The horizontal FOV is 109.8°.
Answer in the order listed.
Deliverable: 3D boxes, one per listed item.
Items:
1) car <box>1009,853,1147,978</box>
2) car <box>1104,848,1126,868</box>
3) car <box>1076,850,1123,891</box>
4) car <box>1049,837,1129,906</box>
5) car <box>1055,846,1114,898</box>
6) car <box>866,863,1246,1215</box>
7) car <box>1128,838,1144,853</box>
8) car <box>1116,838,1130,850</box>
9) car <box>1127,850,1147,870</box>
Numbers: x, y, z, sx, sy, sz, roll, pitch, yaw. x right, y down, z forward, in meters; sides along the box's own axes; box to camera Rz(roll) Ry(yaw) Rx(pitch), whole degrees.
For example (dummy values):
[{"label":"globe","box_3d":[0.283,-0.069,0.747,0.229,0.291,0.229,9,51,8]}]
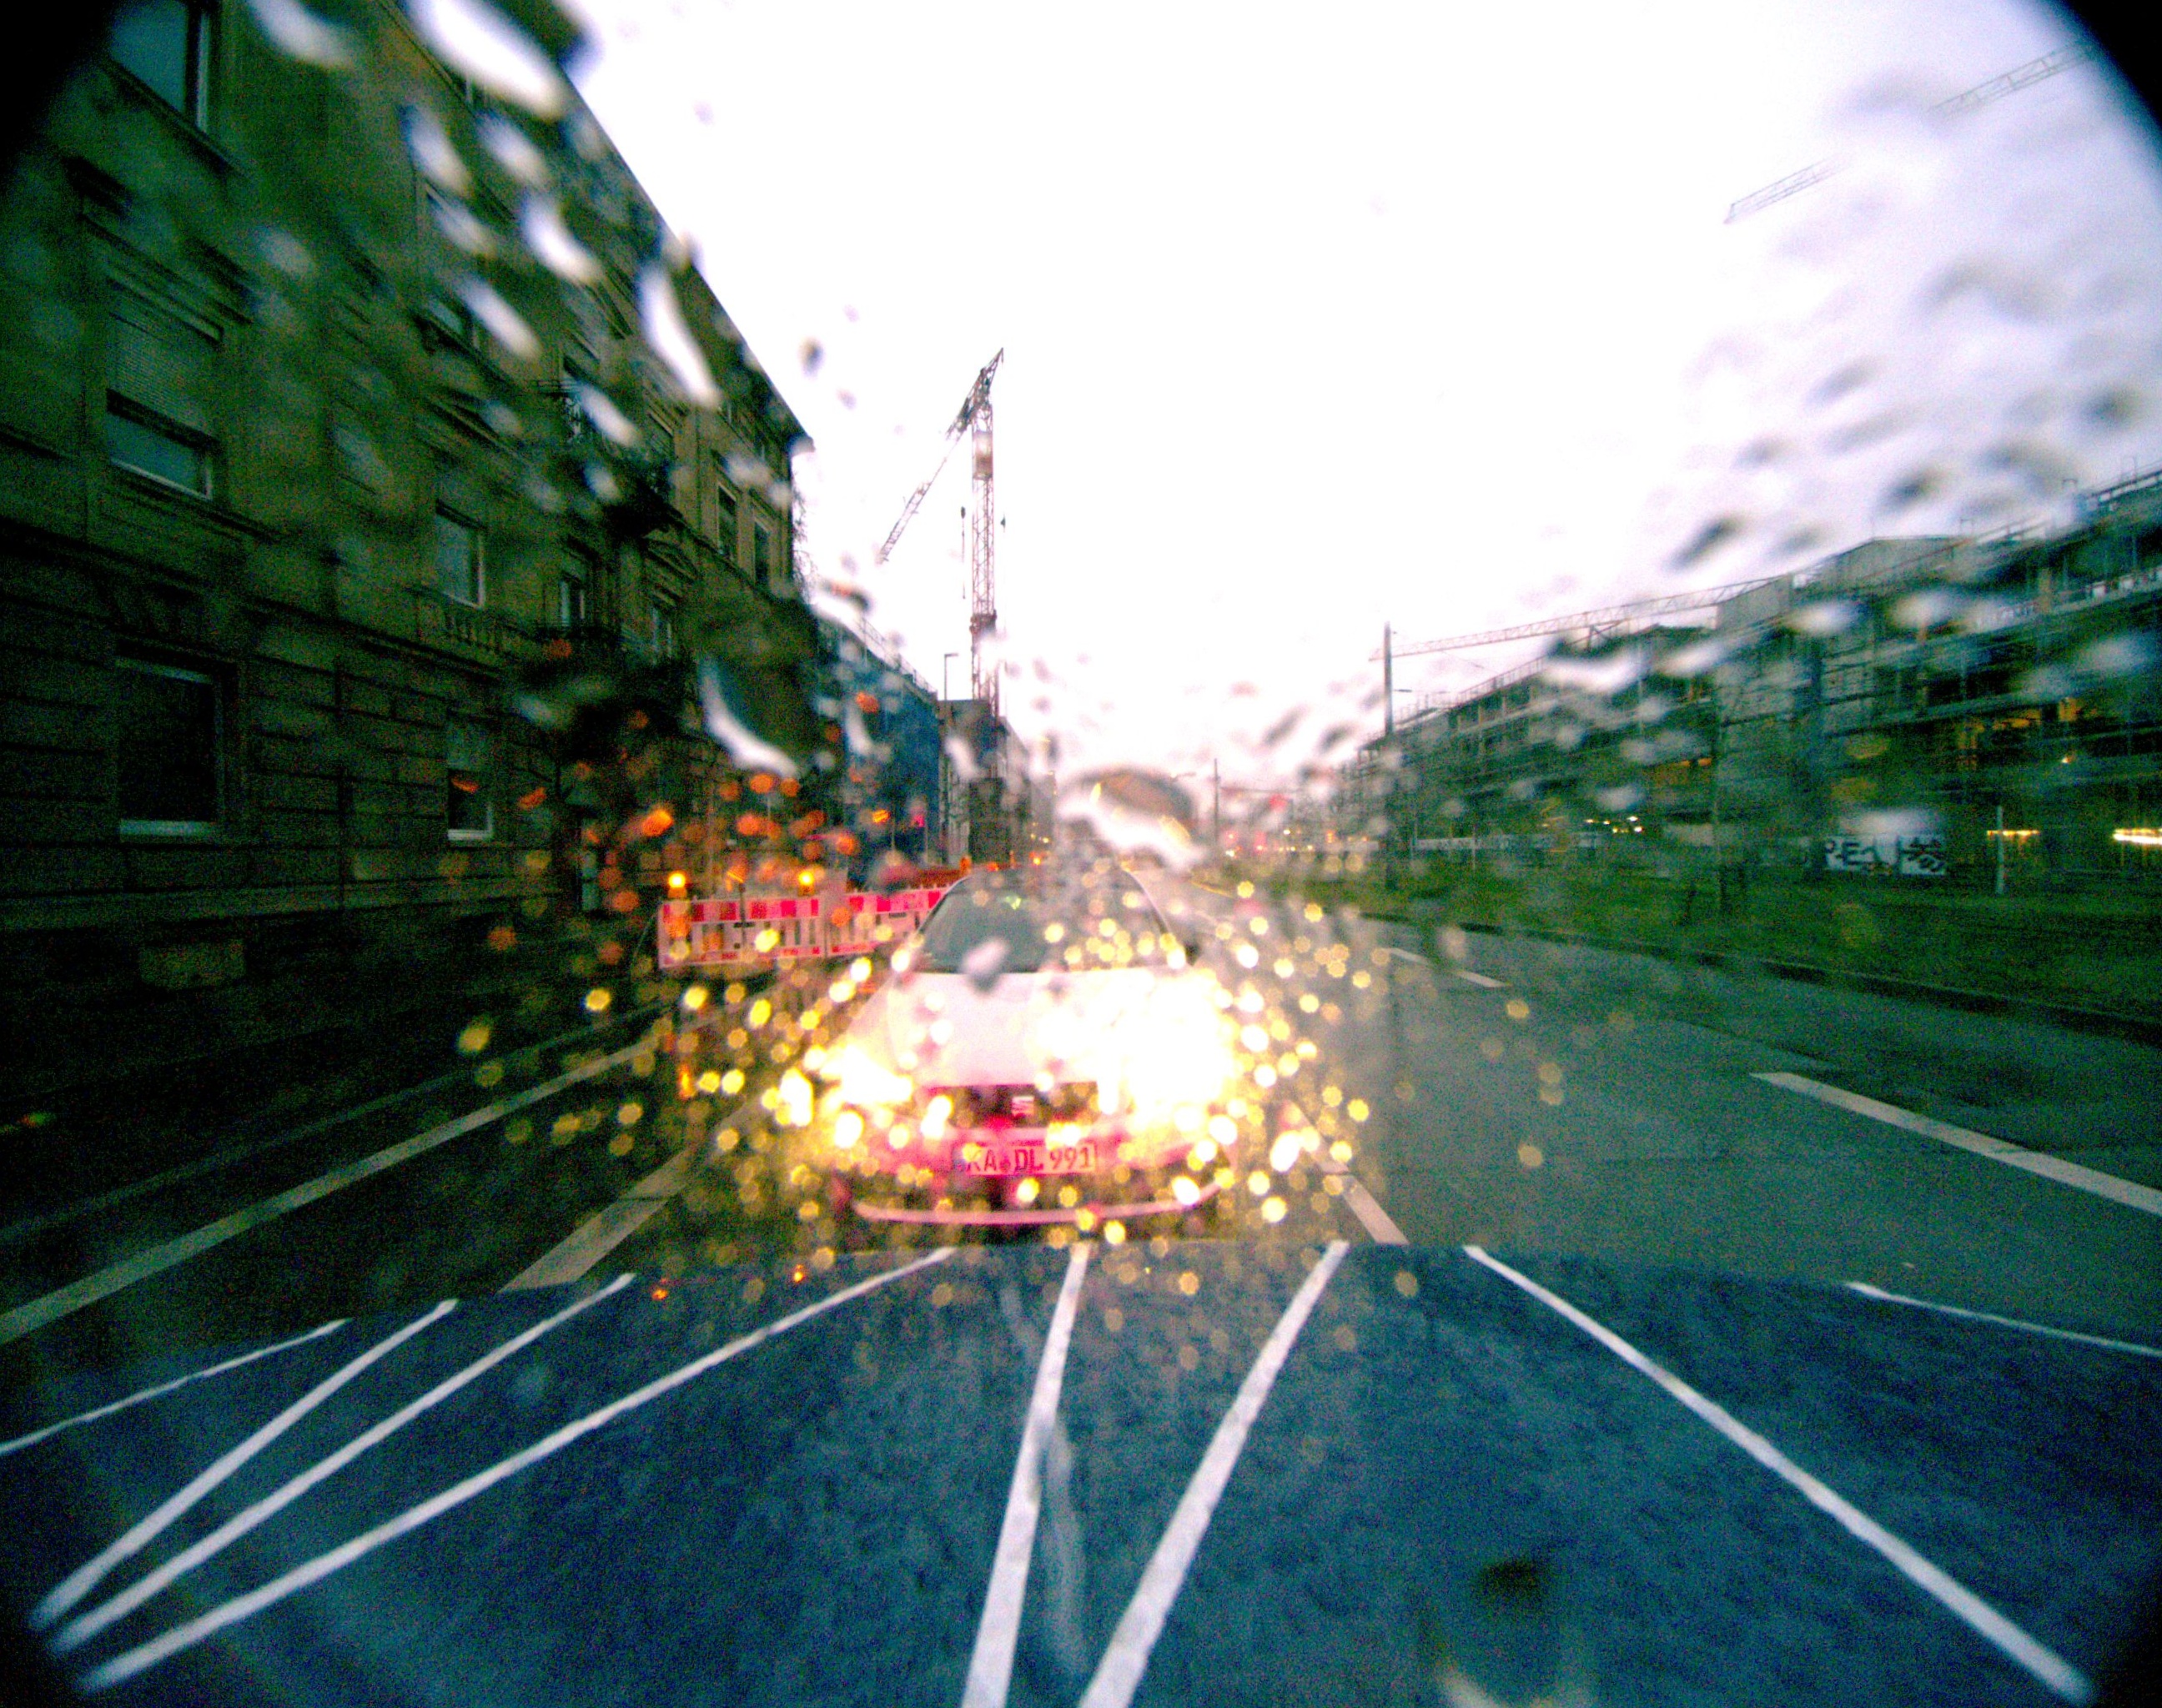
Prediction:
[{"label":"car","box_3d":[-0.046,0.811,12.011,1.769,1.504,3.899,-3,1,0]},{"label":"car","box_3d":[2.973,0.318,66.411,1.768,1.504,3.900,-3,1,3]},{"label":"car","box_3d":[0.855,0.671,32.613,1.768,1.504,3.900,-3,1,4]},{"label":"car","box_3d":[0.182,0.363,19.310,1.769,1.504,3.899,-3,1,0]},{"label":"car","box_3d":[0.106,0.535,25.585,1.769,1.504,3.899,-3,1,0]},{"label":"car","box_3d":[-0.122,0.922,5.619,1.769,1.504,3.899,-3,1,0]},{"label":"car","box_3d":[6.317,-1.017,87.341,1.768,1.614,3.900,-3,1,4]},{"label":"car","box_3d":[5.920,-1.409,107.033,1.768,1.614,3.900,-3,1,4]},{"label":"car","box_3d":[5.138,0.506,69.738,1.768,1.614,3.900,-3,1,4]}]
